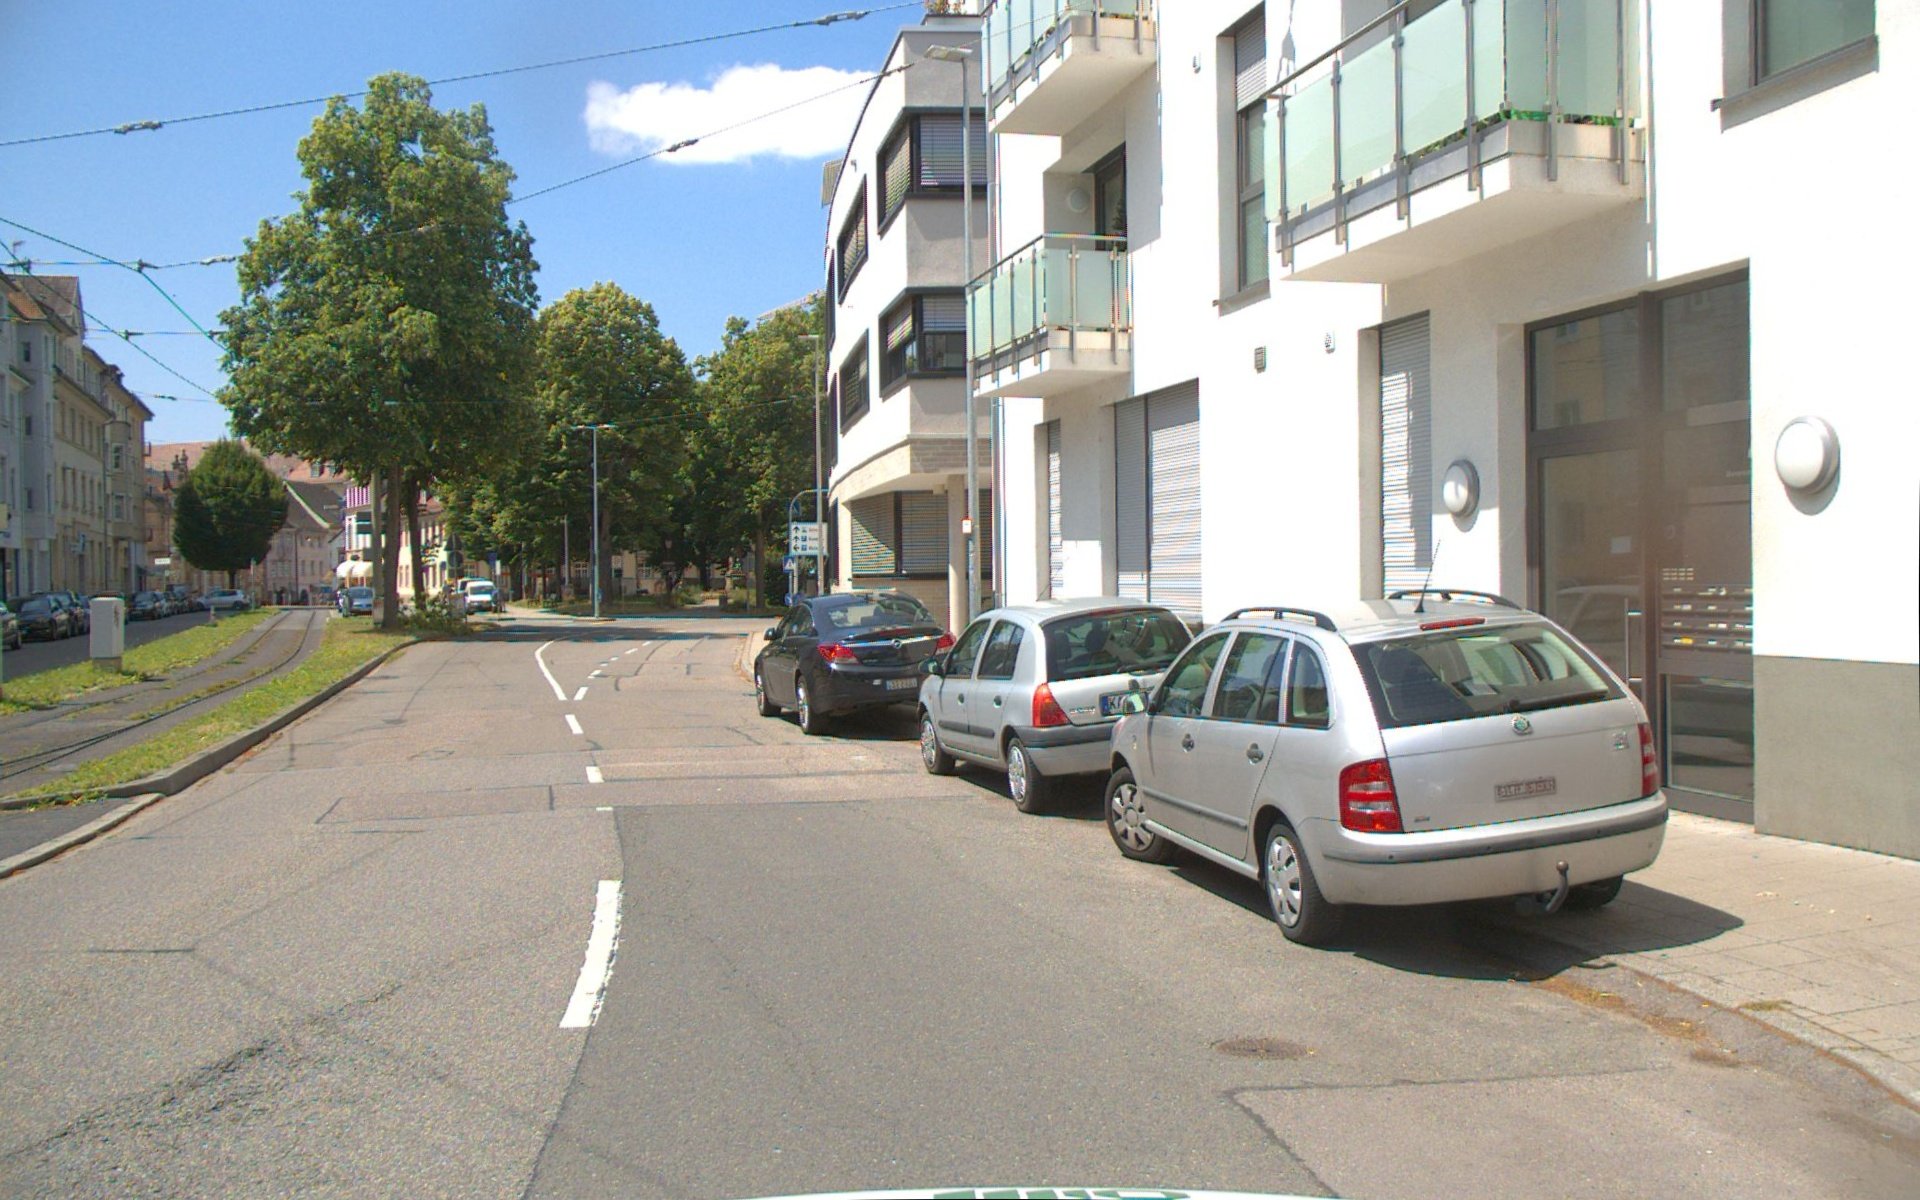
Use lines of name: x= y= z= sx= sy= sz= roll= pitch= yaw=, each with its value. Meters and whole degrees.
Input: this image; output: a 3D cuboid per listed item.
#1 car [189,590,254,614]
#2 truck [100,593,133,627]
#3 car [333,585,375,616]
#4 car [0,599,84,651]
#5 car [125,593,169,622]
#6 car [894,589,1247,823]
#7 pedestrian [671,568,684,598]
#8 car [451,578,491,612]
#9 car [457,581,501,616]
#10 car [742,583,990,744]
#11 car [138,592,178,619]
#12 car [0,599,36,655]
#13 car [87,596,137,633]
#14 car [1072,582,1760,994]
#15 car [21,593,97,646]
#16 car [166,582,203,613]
car: x=-52.069 y=0.128 z=116.643 sx=4.151 sy=1.531 sz=1.988 roll=-3 pitch=2 yaw=-26
truck: x=-39.601 y=0.456 z=77.690 sx=1.110 sy=1.520 sz=2.577 roll=-3 pitch=2 yaw=-22
car: x=-31.387 y=0.031 z=85.605 sx=1.878 sy=1.560 sz=4.213 roll=0 pitch=0 yaw=-23
car: x=-30.500 y=0.787 z=54.886 sx=1.900 sy=1.516 sz=4.833 roll=-3 pitch=2 yaw=-21
car: x=-43.194 y=0.395 z=87.939 sx=1.662 sy=1.383 sz=3.833 roll=-3 pitch=2 yaw=-21
car: x=0.717 y=0.718 z=13.158 sx=1.567 sy=1.457 sz=3.690 roll=-5 pitch=1 yaw=-16
pedestrian: x=-18.356 y=-1.099 z=107.426 sx=0.733 sy=1.944 sz=0.683 roll=0 pitch=2 yaw=-6
car: x=-29.492 y=-0.333 z=99.723 sx=2.019 sy=2.037 sz=5.219 roll=0 pitch=1 yaw=-20
car: x=-26.687 y=-0.126 z=91.669 sx=1.965 sy=1.858 sz=4.394 roll=0 pitch=1 yaw=-21
car: x=-1.244 y=0.661 z=19.510 sx=1.772 sy=1.535 sz=4.525 roll=-5 pitch=1 yaw=-18
car: x=-45.125 y=0.301 z=93.131 sx=1.662 sy=1.414 sz=3.833 roll=-3 pitch=2 yaw=-21
car: x=-26.923 y=0.755 z=45.364 sx=1.899 sy=1.422 sz=4.835 roll=-3 pitch=2 yaw=-20
car: x=-37.806 y=0.617 z=73.782 sx=1.549 sy=1.476 sz=3.603 roll=-3 pitch=2 yaw=-21
car: x=1.990 y=0.718 z=8.547 sx=1.697 sy=1.457 sz=4.030 roll=-5 pitch=1 yaw=-12
car: x=-32.530 y=0.662 z=59.838 sx=1.810 sy=1.715 sz=4.116 roll=-3 pitch=2 yaw=-21
car: x=-51.853 y=-0.212 z=110.695 sx=1.827 sy=1.944 sz=4.741 roll=-3 pitch=2 yaw=-21
